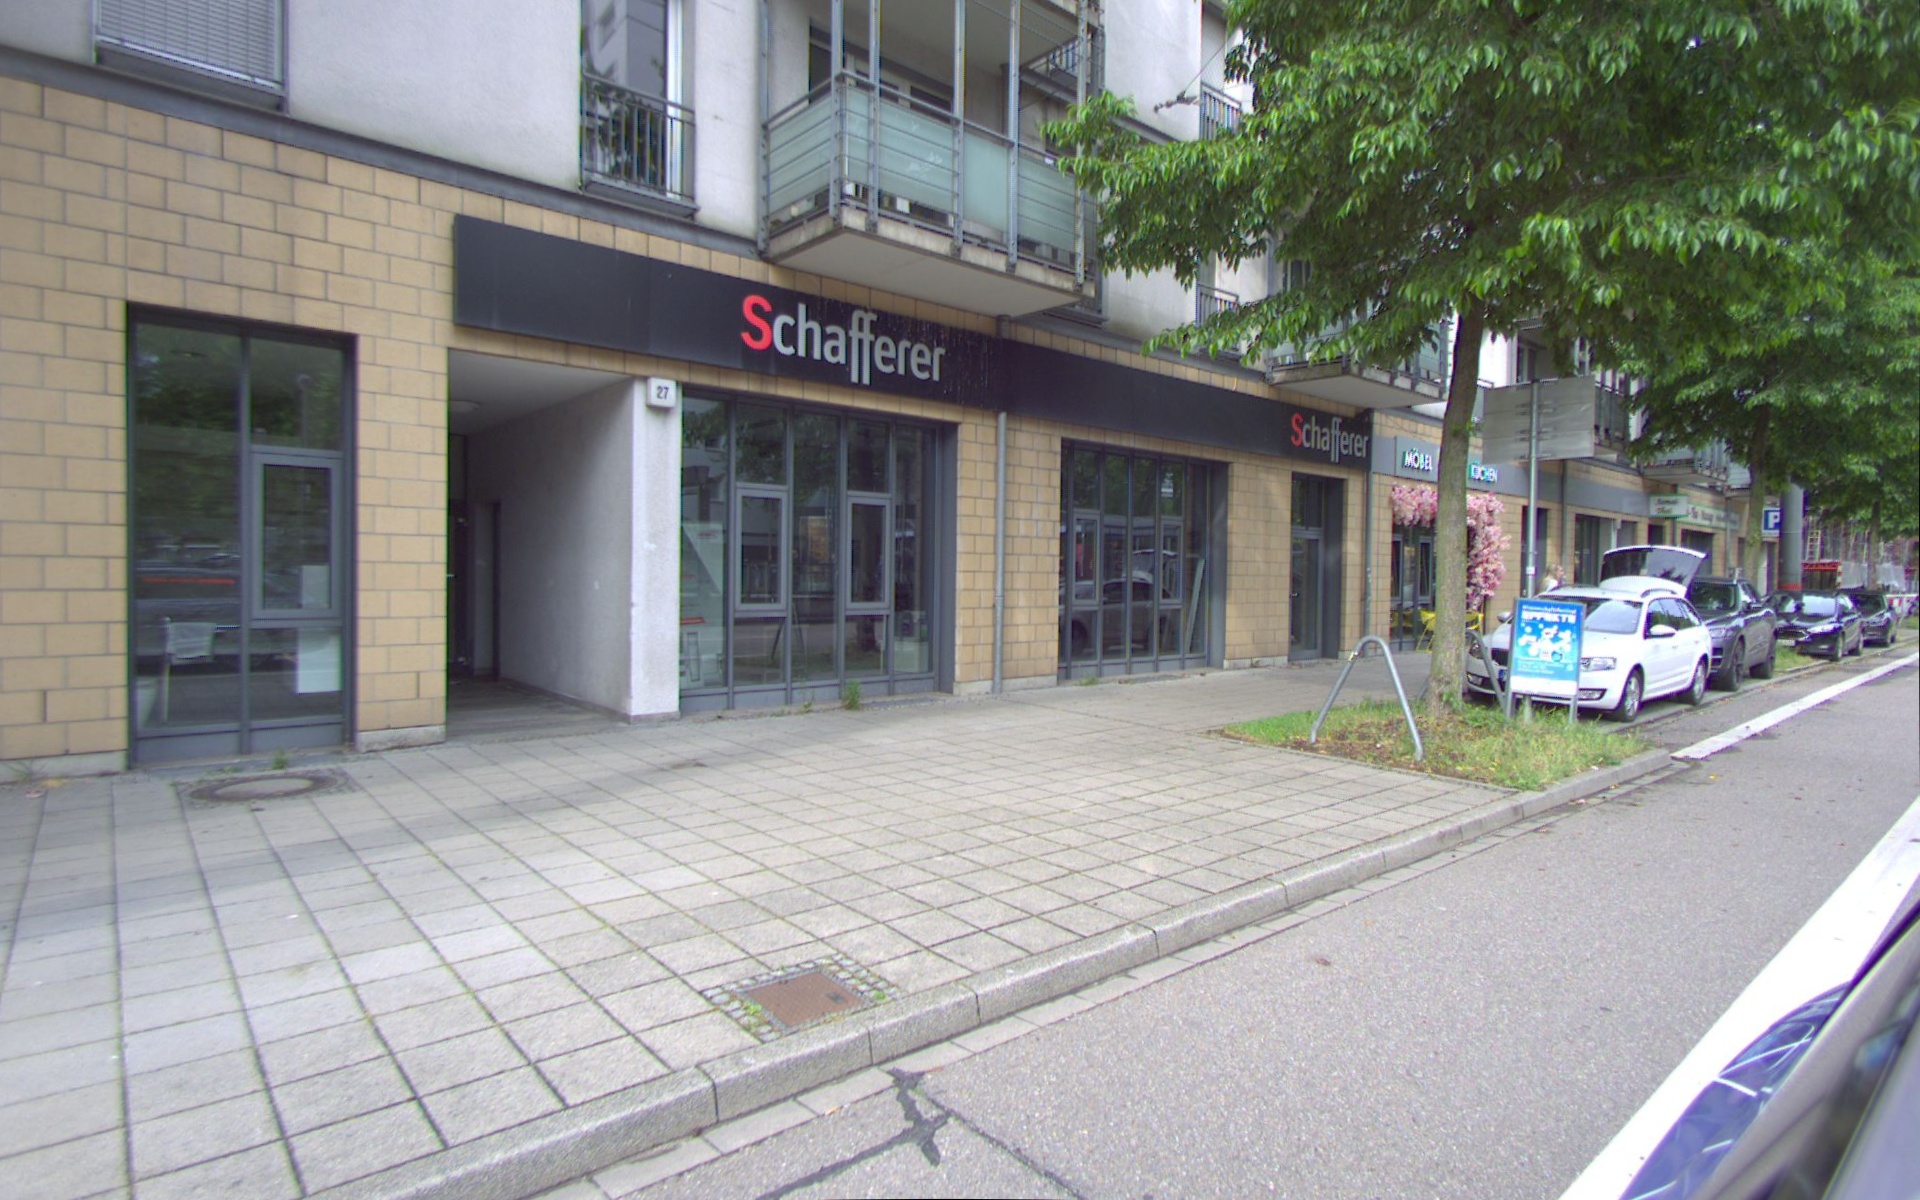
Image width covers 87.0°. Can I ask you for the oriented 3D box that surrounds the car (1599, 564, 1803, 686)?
[{"bbox_3d":[11.788,0.311,16.023,3.732,1.630,1.738,-1,5,-41],"label":"car"}]

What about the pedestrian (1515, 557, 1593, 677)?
[{"bbox_3d":[8.814,0.243,15.034,0.723,1.738,0.619,1,2,-16],"label":"pedestrian"}]

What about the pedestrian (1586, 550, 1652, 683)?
[{"bbox_3d":[9.708,0.231,14.914,0.588,1.907,0.656,0,1,-40],"label":"pedestrian"}]

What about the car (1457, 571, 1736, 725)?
[{"bbox_3d":[8.116,0.467,12.750,4.233,1.539,1.738,-1,5,-41],"label":"car"}]

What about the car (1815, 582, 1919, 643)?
[{"bbox_3d":[24.150,0.278,26.865,3.603,1.417,1.612,-1,5,-41],"label":"car"}]

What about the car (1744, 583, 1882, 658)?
[{"bbox_3d":[18.629,0.378,22.040,4.095,1.394,1.612,-1,5,-41],"label":"car"}]
